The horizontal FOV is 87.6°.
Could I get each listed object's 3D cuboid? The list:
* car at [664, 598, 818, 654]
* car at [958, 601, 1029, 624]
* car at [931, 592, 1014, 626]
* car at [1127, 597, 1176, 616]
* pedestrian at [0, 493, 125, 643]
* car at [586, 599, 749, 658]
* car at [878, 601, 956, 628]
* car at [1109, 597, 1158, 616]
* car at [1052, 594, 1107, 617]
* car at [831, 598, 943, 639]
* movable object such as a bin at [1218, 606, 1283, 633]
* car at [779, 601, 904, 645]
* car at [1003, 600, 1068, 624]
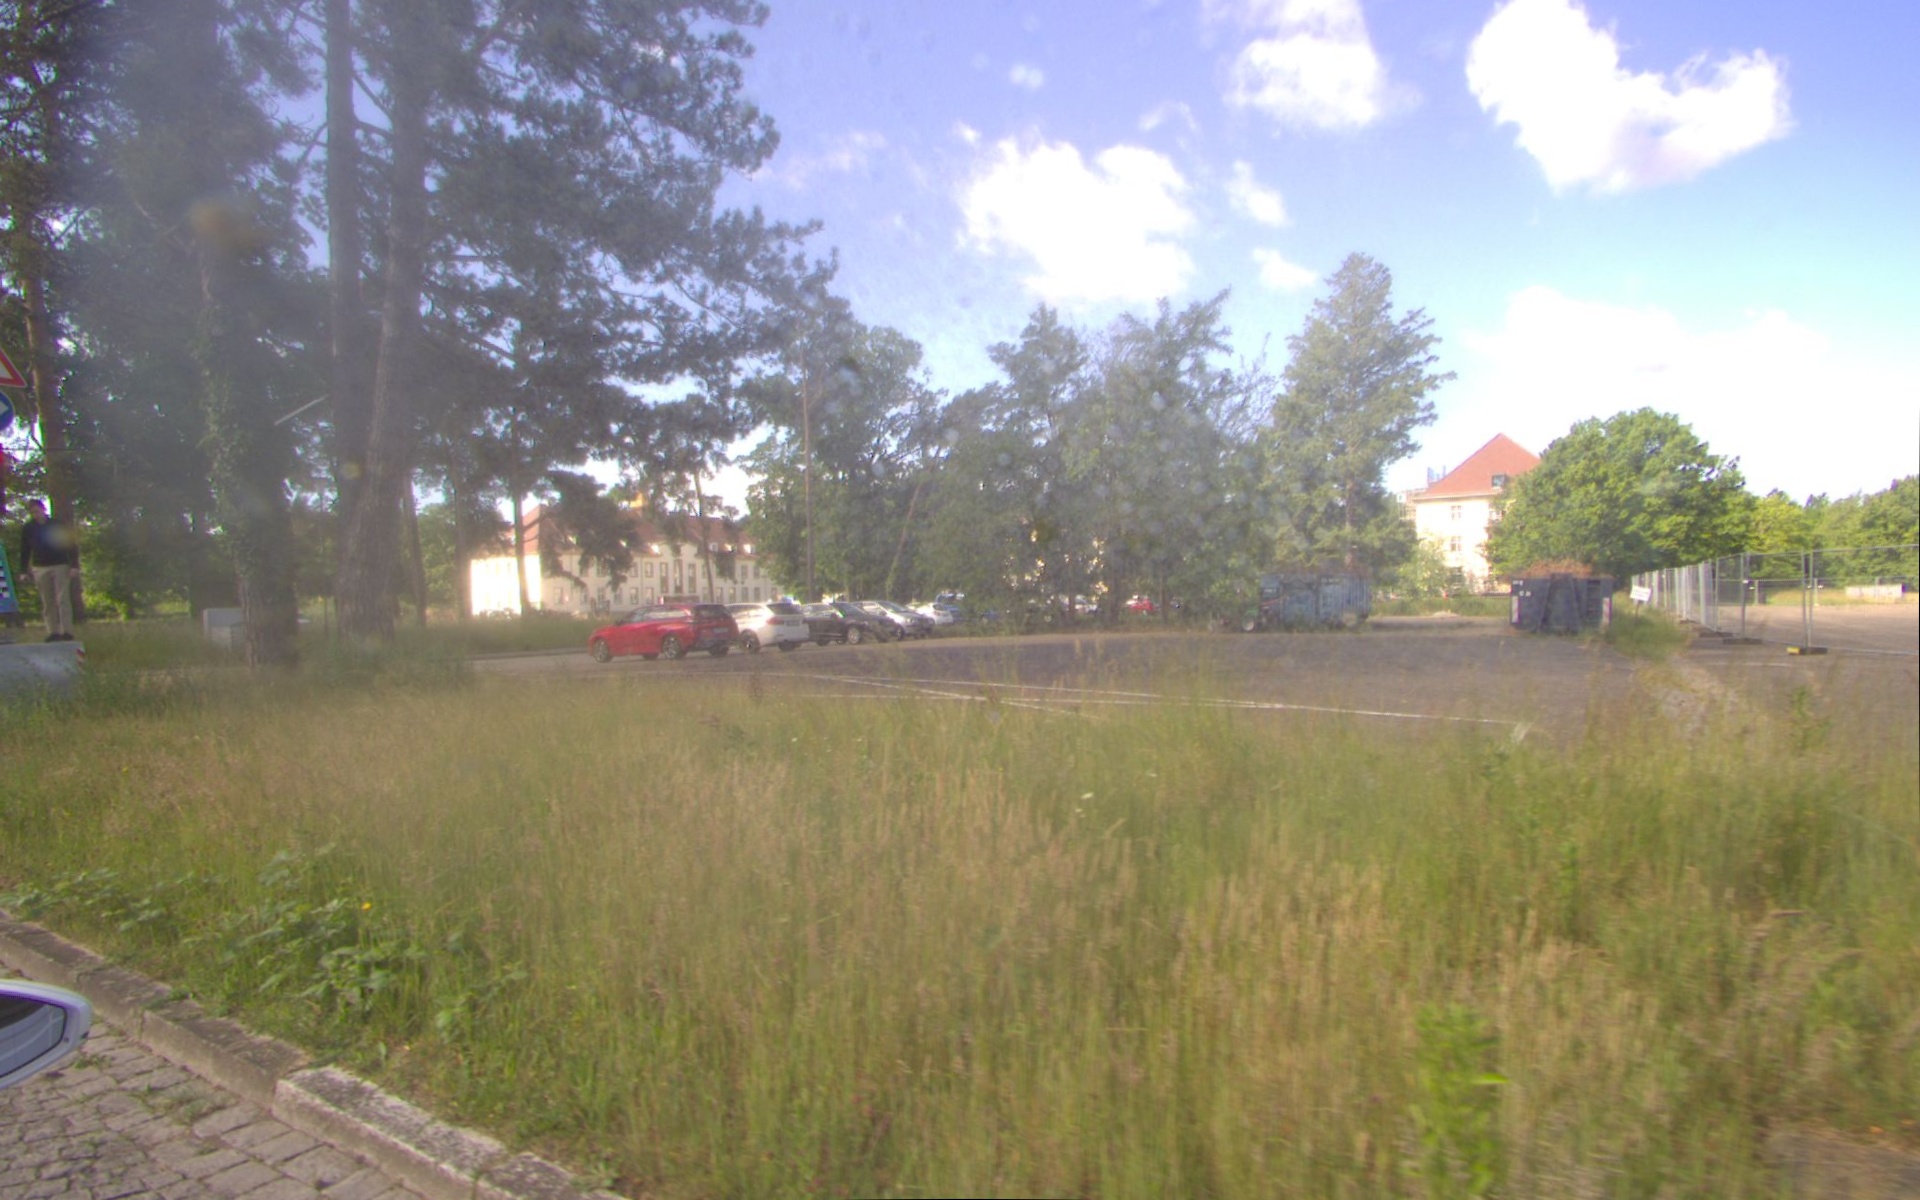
[{"bbox_3d":[-6.286,0.744,28.657,4.180,1.396,1.776,-3,-1,31],"label":"car"},{"bbox_3d":[2.108,0.801,62.900,4.181,1.443,1.720,-1,-1,33],"label":"car"},{"bbox_3d":[0.757,0.545,60.594,4.677,1.973,1.981,-1,-1,33],"label":"car"},{"bbox_3d":[16.318,0.567,85.379,3.682,1.568,1.704,-1,-1,33],"label":"car"},{"bbox_3d":[-11.569,-0.401,12.775,1.154,1.820,1.057,-2,2,-28],"label":"pedestrian"},{"bbox_3d":[-7.697,0.772,26.223,4.266,1.417,1.744,-2,-1,33],"label":"car"},{"bbox_3d":[-2.430,0.841,56.413,4.181,1.487,1.720,-1,-1,33],"label":"car"},{"bbox_3d":[14.531,0.555,83.843,3.682,1.568,1.704,-1,-1,33],"label":"car"},{"bbox_3d":[8.750,0.420,73.600,3.640,1.568,1.704,-1,-1,33],"label":"car"},{"bbox_3d":[-2.635,0.673,35.897,3.740,1.390,1.719,-1,-1,34],"label":"car"},{"bbox_3d":[8.668,0.588,29.823,1.697,0.762,1.143,-1,0,26],"label":"movable object such as a bin"},{"bbox_3d":[-3.961,0.745,33.265,3.988,1.332,1.612,-1,1,33],"label":"car"},{"bbox_3d":[5.135,0.850,68.316,4.181,1.568,1.720,-1,-1,33],"label":"car"}]
